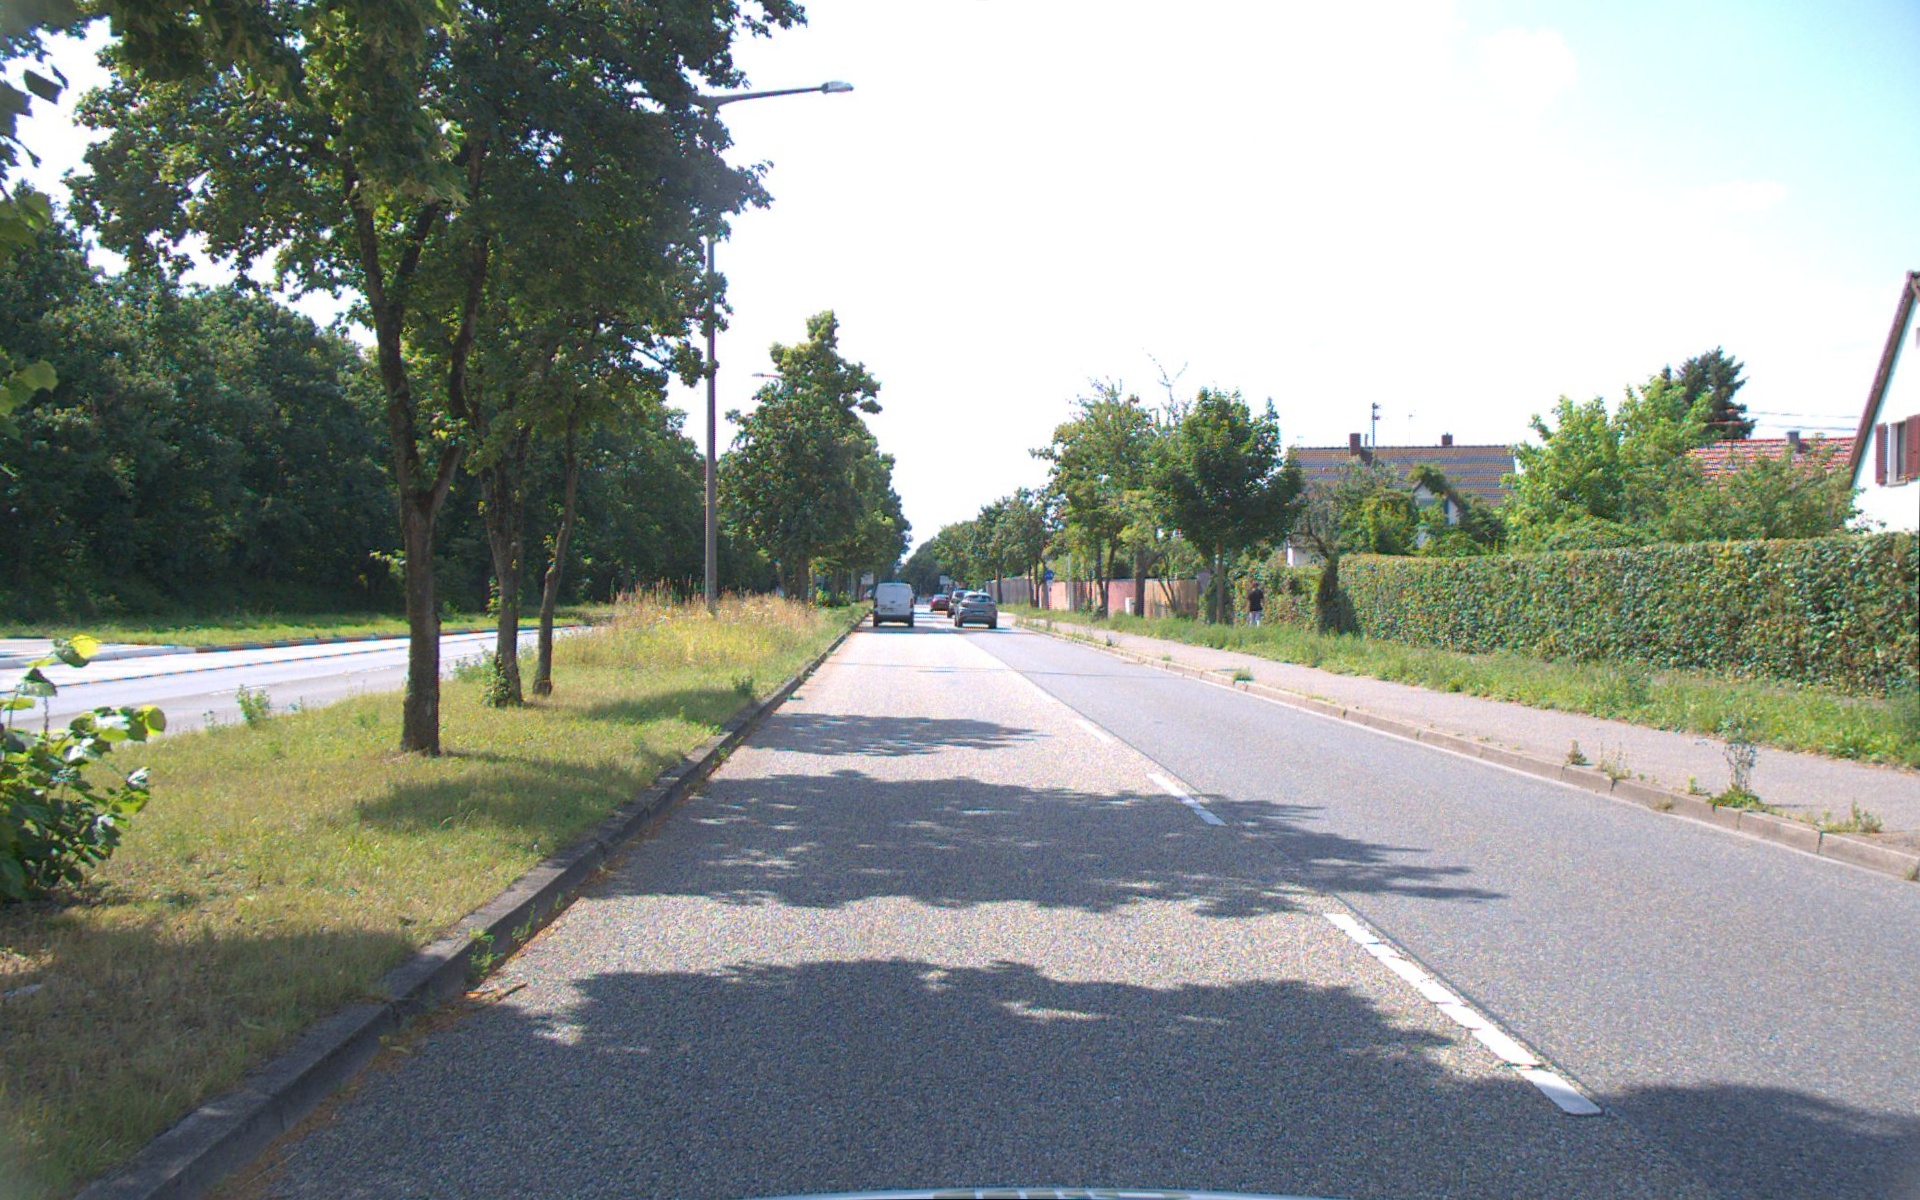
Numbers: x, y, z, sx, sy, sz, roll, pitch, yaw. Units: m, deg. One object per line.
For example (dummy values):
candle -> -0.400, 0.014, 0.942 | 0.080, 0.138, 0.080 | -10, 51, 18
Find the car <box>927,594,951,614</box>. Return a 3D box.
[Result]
car -> -1.716, 0.339, 136.428 | 1.842, 1.615, 3.998 | 0, 0, -2

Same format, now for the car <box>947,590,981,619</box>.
car -> 0.218, 0.263, 98.766 | 1.837, 1.681, 3.998 | 0, 0, -2

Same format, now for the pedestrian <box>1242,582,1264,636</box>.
pedestrian -> 9.379, 0.277, 52.969 | 0.549, 1.706, 0.634 | 0, 0, -3

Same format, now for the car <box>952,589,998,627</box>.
car -> 0.643, 0.327, 73.204 | 1.837, 1.617, 4.183 | 0, 0, -2

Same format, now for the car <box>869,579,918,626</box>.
car -> -2.881, 0.103, 71.497 | 2.024, 1.945, 4.644 | 0, 0, -2
